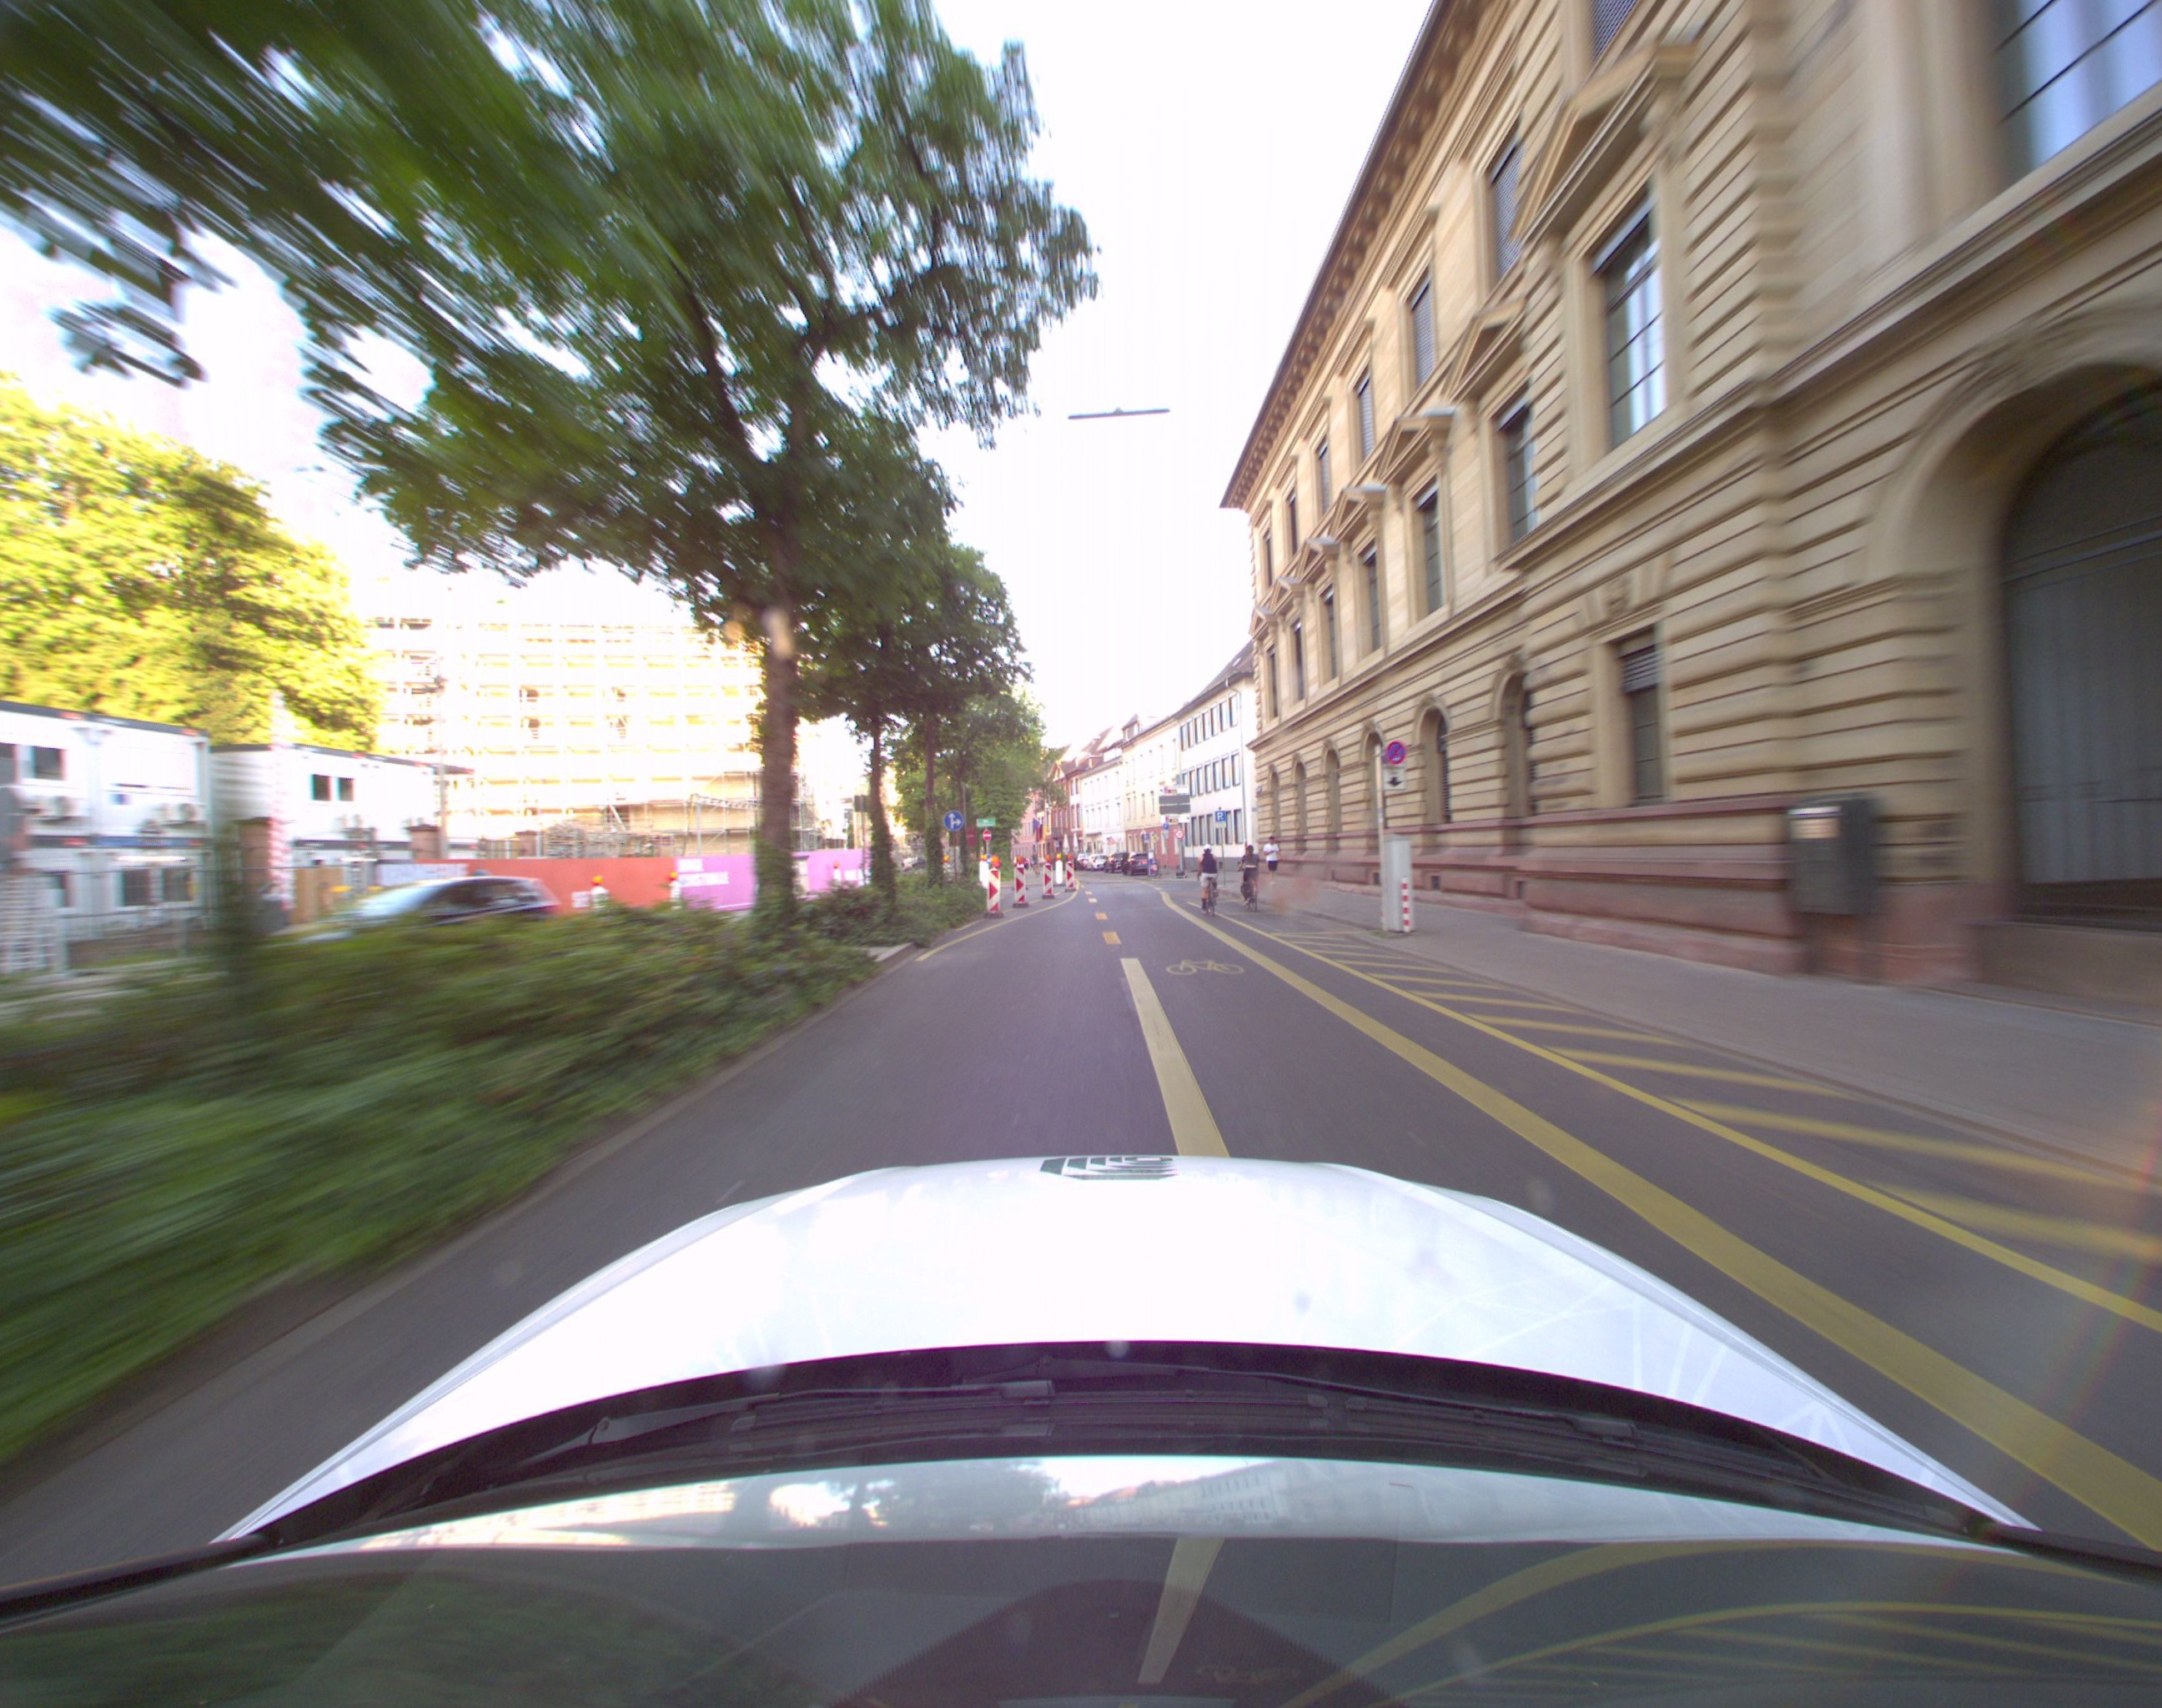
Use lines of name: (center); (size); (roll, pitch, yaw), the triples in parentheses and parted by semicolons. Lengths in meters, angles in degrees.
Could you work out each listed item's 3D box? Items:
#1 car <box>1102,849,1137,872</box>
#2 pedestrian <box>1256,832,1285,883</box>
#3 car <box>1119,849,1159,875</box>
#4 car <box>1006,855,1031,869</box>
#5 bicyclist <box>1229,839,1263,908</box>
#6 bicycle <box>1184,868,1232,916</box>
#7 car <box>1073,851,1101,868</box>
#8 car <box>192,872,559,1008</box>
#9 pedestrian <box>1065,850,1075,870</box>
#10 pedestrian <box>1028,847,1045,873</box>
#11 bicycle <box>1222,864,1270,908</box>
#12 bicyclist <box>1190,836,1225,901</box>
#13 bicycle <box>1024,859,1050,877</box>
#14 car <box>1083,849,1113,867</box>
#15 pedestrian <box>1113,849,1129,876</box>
car: (3.026, 0.533, 64.637); (1.813, 1.684, 3.985); (-2, 0, -11)
pedestrian: (6.660, 0.120, 28.600); (0.813, 1.765, 1.039); (-1, 0, 4)
car: (3.961, 0.558, 56.694); (1.813, 1.682, 3.905); (-2, 0, -11)
car: (-7.522, 1.003, 97.308); (1.820, 1.560, 3.836); (-2, 0, -22)
bicyclist: (4.300, 0.495, 21.234); (0.648, 1.760, 0.863); (0, 0, -5)
bicycle: (3.075, 0.898, 19.897); (0.669, 1.071, 1.896); (-1, 0, -7)
car: (0.519, 0.509, 77.054); (1.814, 1.560, 3.849); (-2, 0, -12)
car: (-10.620, 1.176, 12.786); (1.834, 1.551, 4.179); (-4, 0, 4)
pedestrian: (-1.046, 0.555, 77.019); (0.827, 1.844, 0.959); (-1, 0, 4)
pedestrian: (-2.870, 0.393, 53.053); (0.728, 1.674, 0.900); (-2, 0, 22)
bicycle: (4.301, 0.798, 21.375); (0.651, 1.071, 2.254); (0, 0, -5)
bicyclist: (3.075, 0.343, 19.852); (0.668, 1.566, 0.697); (0, 0, -7)
bicycle: (-2.854, 0.907, 53.062); (0.754, 1.037, 2.132); (-2, 0, 22)
car: (1.514, 0.349, 72.578); (1.814, 1.560, 3.849); (-2, 0, -12)
pedestrian: (2.812, 0.604, 57.331); (0.901, 1.866, 0.928); (-2, 0, -12)
